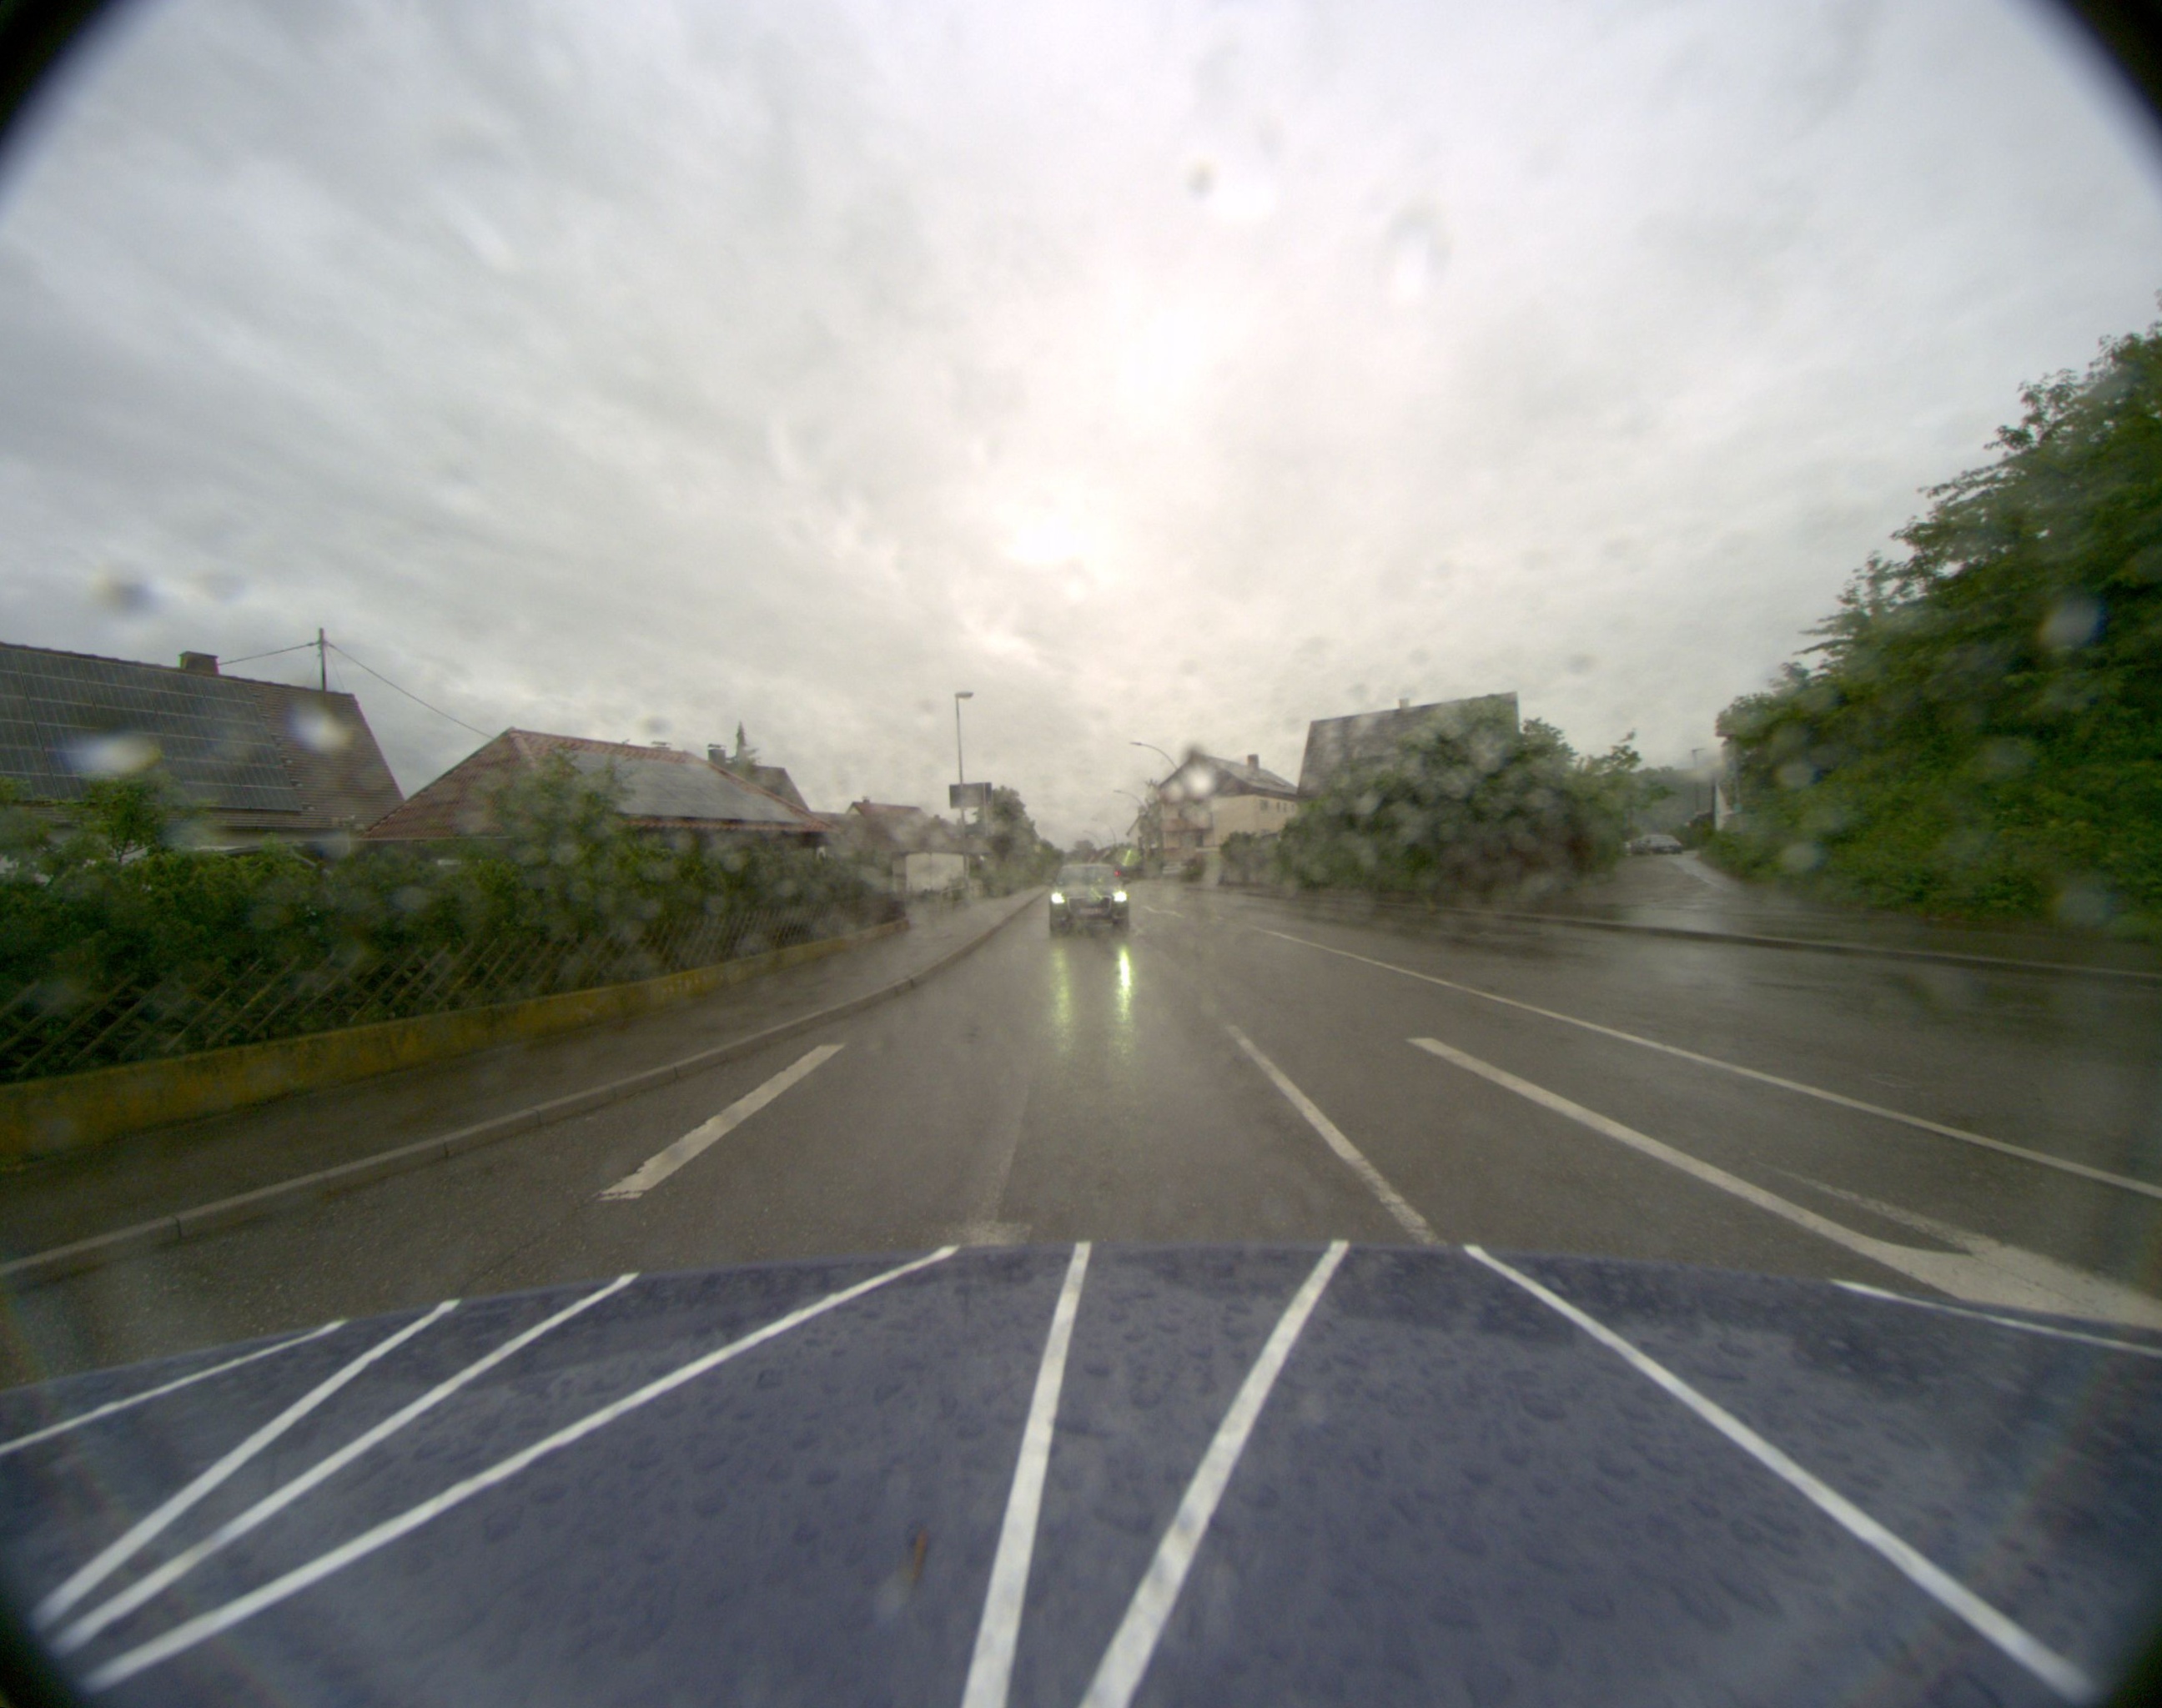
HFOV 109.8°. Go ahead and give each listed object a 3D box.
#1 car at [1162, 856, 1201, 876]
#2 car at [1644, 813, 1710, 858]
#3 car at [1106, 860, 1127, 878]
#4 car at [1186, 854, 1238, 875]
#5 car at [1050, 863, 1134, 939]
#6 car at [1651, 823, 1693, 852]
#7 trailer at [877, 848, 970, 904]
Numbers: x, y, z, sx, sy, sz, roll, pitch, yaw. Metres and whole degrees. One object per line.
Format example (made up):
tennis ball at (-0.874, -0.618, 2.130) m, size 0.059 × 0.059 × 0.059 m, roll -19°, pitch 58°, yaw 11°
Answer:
car at (8.905, 1.042, 67.048) m, size 1.864 × 1.510 × 4.007 m, roll -3°, pitch 0°, yaw 32°
car at (22.962, -0.715, 29.212) m, size 1.706 × 1.579 × 3.669 m, roll -2°, pitch 0°, yaw 42°
car at (3.564, 1.484, 75.599) m, size 1.998 × 1.658 × 4.417 m, roll -3°, pitch 0°, yaw 3°
car at (10.565, 0.837, 61.303) m, size 3.661 × 1.510 × 1.758 m, roll -3°, pitch 0°, yaw 35°
car at (0.273, 1.003, 17.894) m, size 1.687 × 1.486 × 3.939 m, roll -3°, pitch 0°, yaw 1°
car at (41.121, -1.163, 52.853) m, size 1.995 × 1.848 × 4.008 m, roll -3°, pitch 0°, yaw 41°
trailer at (-7.589, 1.018, 37.154) m, size 1.645 × 2.502 × 4.712 m, roll -3°, pitch -1°, yaw 28°
